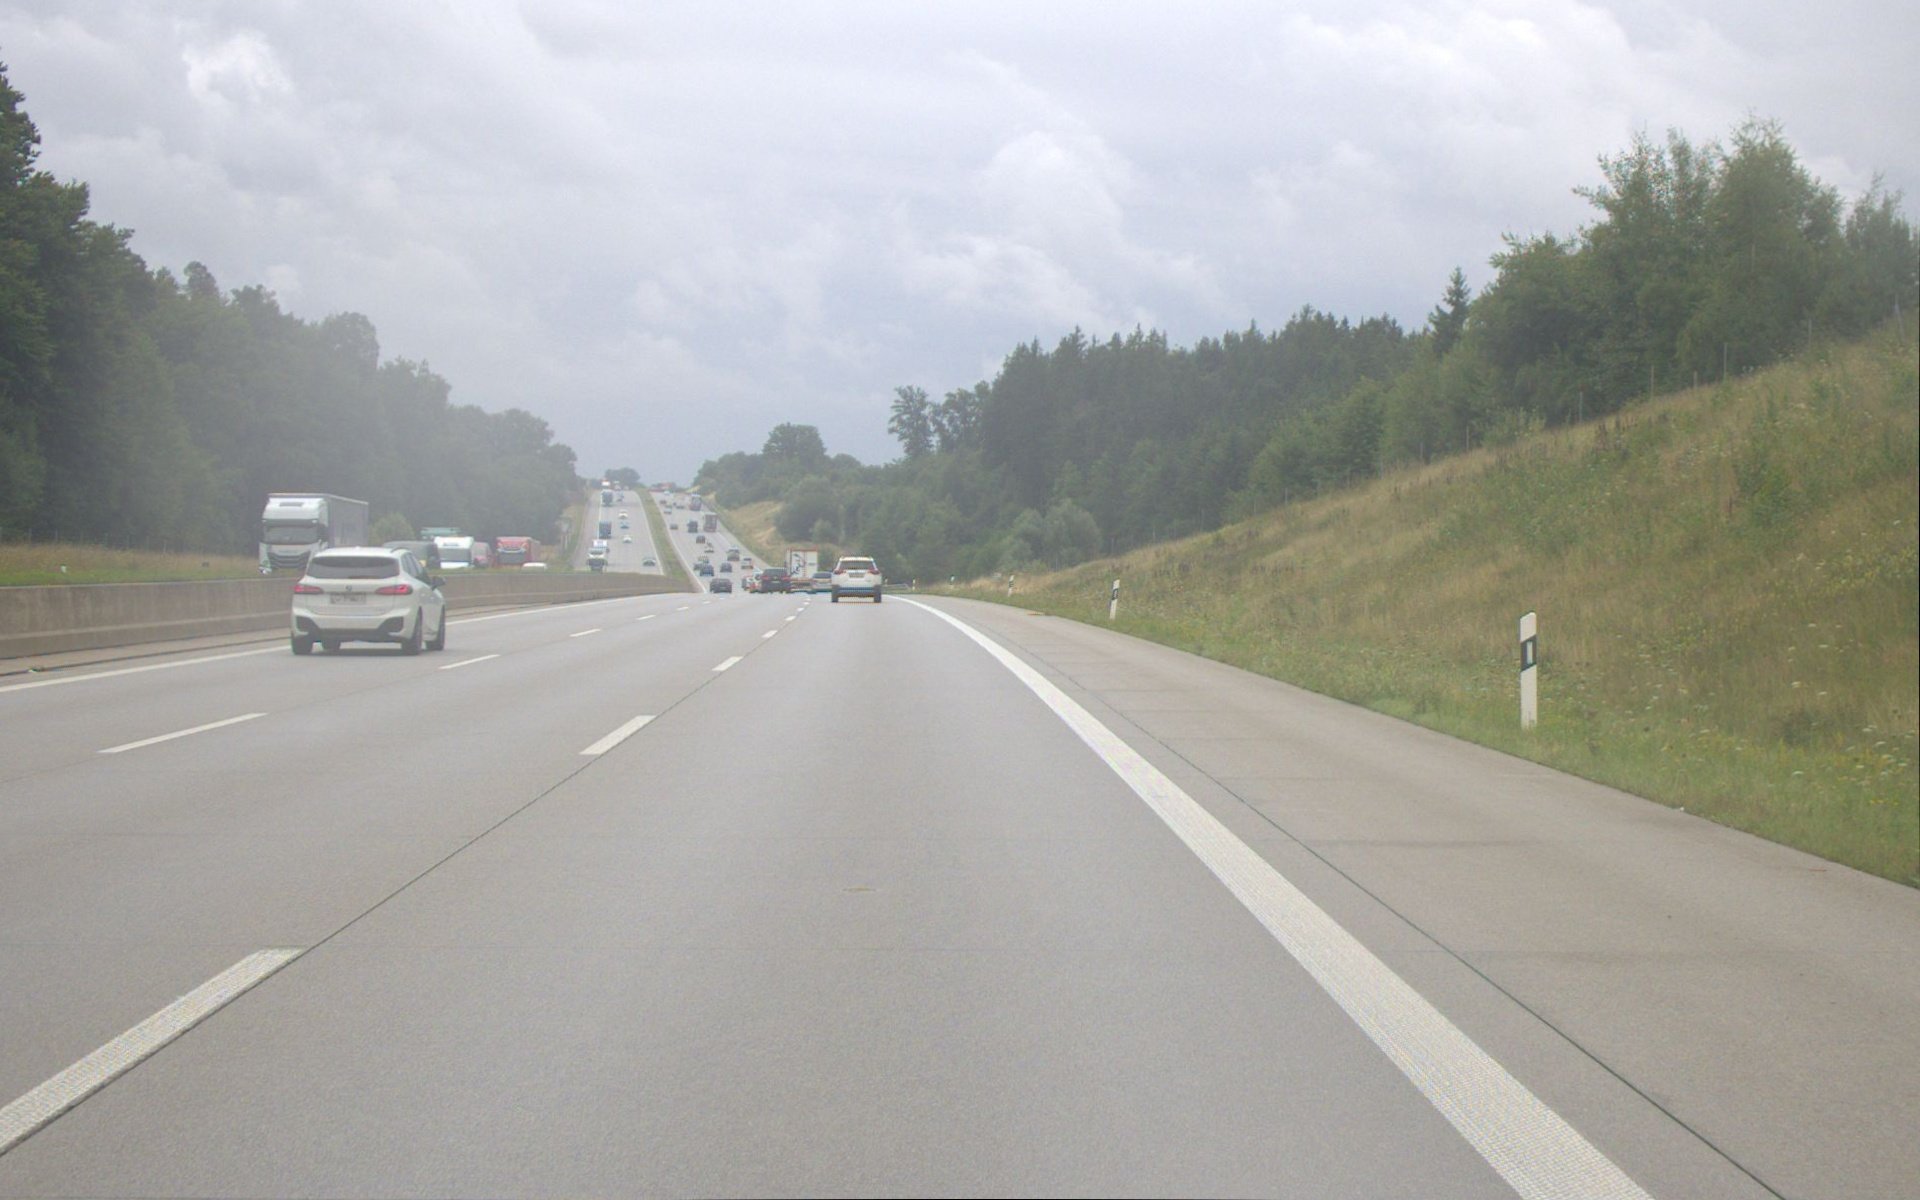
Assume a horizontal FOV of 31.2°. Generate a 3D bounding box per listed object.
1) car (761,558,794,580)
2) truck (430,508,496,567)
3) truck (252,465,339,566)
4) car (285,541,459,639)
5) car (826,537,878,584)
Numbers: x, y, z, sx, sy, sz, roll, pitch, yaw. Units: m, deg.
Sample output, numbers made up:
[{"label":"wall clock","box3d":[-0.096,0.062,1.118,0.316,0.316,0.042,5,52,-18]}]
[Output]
[{"label":"car","box3d":[-11.863,-2.022,223.438,1.935,1.370,4.595,1,1,-5]},{"label":"truck","box3d":[-24.026,-3.031,166.409,2.267,2.778,6.512,1,1,0]},{"label":"truck","box3d":[-27.739,-3.488,143.768,2.508,4.111,6.462,1,1,-2]},{"label":"car","box3d":[-8.552,-0.168,50.318,1.947,1.351,4.260,1,1,-2]},{"label":"car","box3d":[-3.948,-1.440,124.913,1.825,1.650,3.985,1,1,-2]}]
